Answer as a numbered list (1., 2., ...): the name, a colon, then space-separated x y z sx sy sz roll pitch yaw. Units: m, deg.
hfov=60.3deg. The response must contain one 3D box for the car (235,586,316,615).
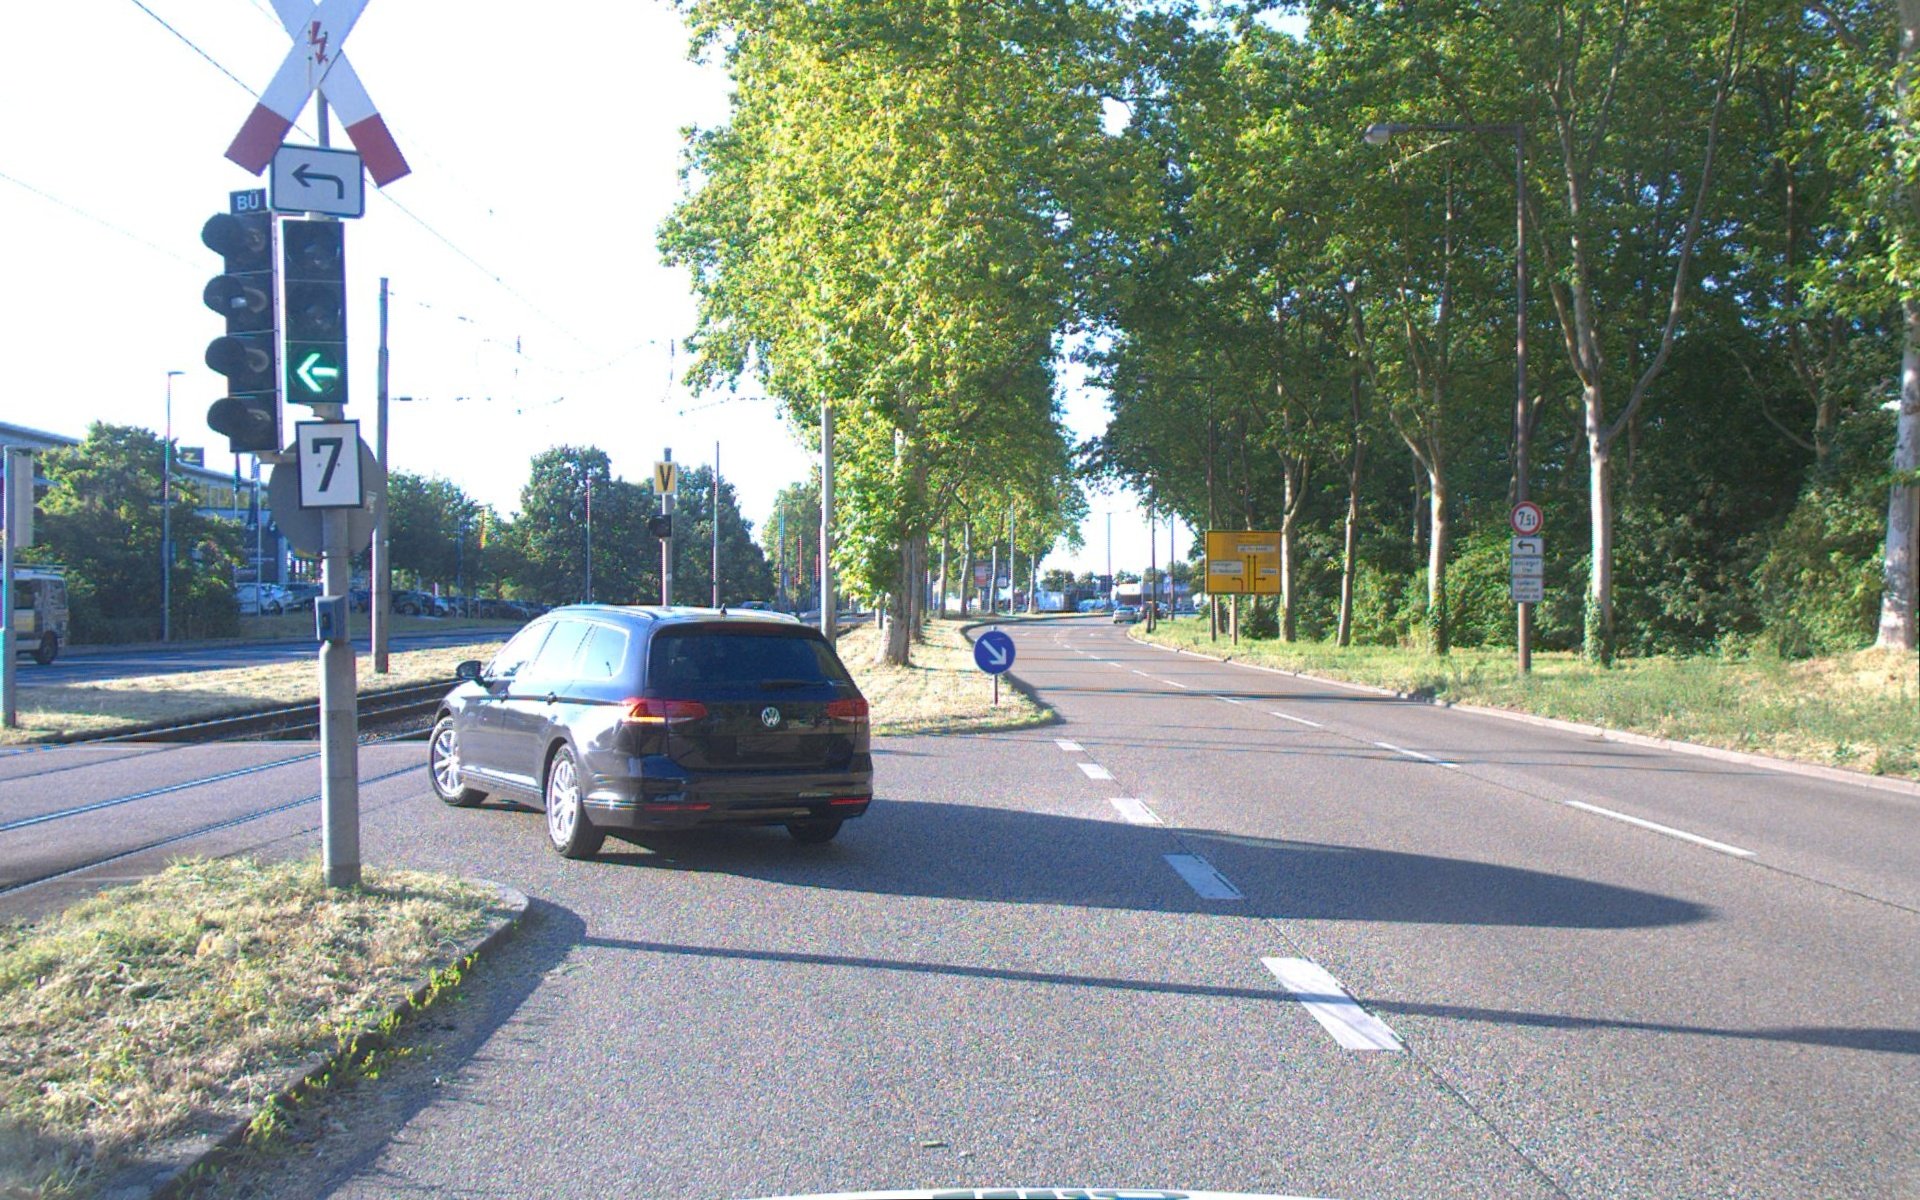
1. car: -35.065 0.018 84.788 3.732 1.413 1.749 1 -1 -20

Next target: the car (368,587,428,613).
1. car: -37.135 0.011 109.254 3.732 1.594 1.749 1 -1 -20

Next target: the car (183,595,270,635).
1. car: -35.978 0.754 81.193 3.732 1.892 1.749 1 -1 -20

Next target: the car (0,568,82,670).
1. car: -25.476 0.478 43.194 1.962 2.611 5.875 1 -1 0

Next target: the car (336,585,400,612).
1. car: -36.885 -0.065 103.065 3.732 1.594 1.749 1 -1 -20

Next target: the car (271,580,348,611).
1. car: -34.964 -0.220 88.961 3.732 1.594 1.749 1 -1 -20

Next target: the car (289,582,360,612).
1. car: -36.250 -0.168 94.395 3.732 1.594 1.749 1 -1 -20

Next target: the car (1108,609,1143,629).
1. car: 12.395 1.396 123.749 1.951 1.467 4.003 0 -1 14

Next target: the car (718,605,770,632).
1. car: -14.485 1.228 110.926 1.771 1.713 4.000 0 0 21

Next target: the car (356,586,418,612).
1. car: -36.873 -0.021 106.454 3.732 1.594 1.749 1 -1 -20

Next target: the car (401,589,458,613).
1. car: -37.046 0.091 115.414 3.732 1.594 1.749 1 -1 -20

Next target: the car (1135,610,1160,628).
1. car: 15.200 1.530 133.826 1.951 1.465 4.003 1 -1 7

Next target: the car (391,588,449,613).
1. car: -36.768 0.059 112.630 3.732 1.594 1.749 1 -1 -20

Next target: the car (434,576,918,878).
1. car: -2.080 0.688 10.971 1.806 1.583 4.215 1 -1 -30

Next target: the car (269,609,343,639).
1. car: -36.027 1.344 91.215 3.732 1.594 1.749 1 -1 -20

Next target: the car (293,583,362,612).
1. car: -37.182 -0.137 97.324 3.732 1.594 1.749 1 -1 -20
